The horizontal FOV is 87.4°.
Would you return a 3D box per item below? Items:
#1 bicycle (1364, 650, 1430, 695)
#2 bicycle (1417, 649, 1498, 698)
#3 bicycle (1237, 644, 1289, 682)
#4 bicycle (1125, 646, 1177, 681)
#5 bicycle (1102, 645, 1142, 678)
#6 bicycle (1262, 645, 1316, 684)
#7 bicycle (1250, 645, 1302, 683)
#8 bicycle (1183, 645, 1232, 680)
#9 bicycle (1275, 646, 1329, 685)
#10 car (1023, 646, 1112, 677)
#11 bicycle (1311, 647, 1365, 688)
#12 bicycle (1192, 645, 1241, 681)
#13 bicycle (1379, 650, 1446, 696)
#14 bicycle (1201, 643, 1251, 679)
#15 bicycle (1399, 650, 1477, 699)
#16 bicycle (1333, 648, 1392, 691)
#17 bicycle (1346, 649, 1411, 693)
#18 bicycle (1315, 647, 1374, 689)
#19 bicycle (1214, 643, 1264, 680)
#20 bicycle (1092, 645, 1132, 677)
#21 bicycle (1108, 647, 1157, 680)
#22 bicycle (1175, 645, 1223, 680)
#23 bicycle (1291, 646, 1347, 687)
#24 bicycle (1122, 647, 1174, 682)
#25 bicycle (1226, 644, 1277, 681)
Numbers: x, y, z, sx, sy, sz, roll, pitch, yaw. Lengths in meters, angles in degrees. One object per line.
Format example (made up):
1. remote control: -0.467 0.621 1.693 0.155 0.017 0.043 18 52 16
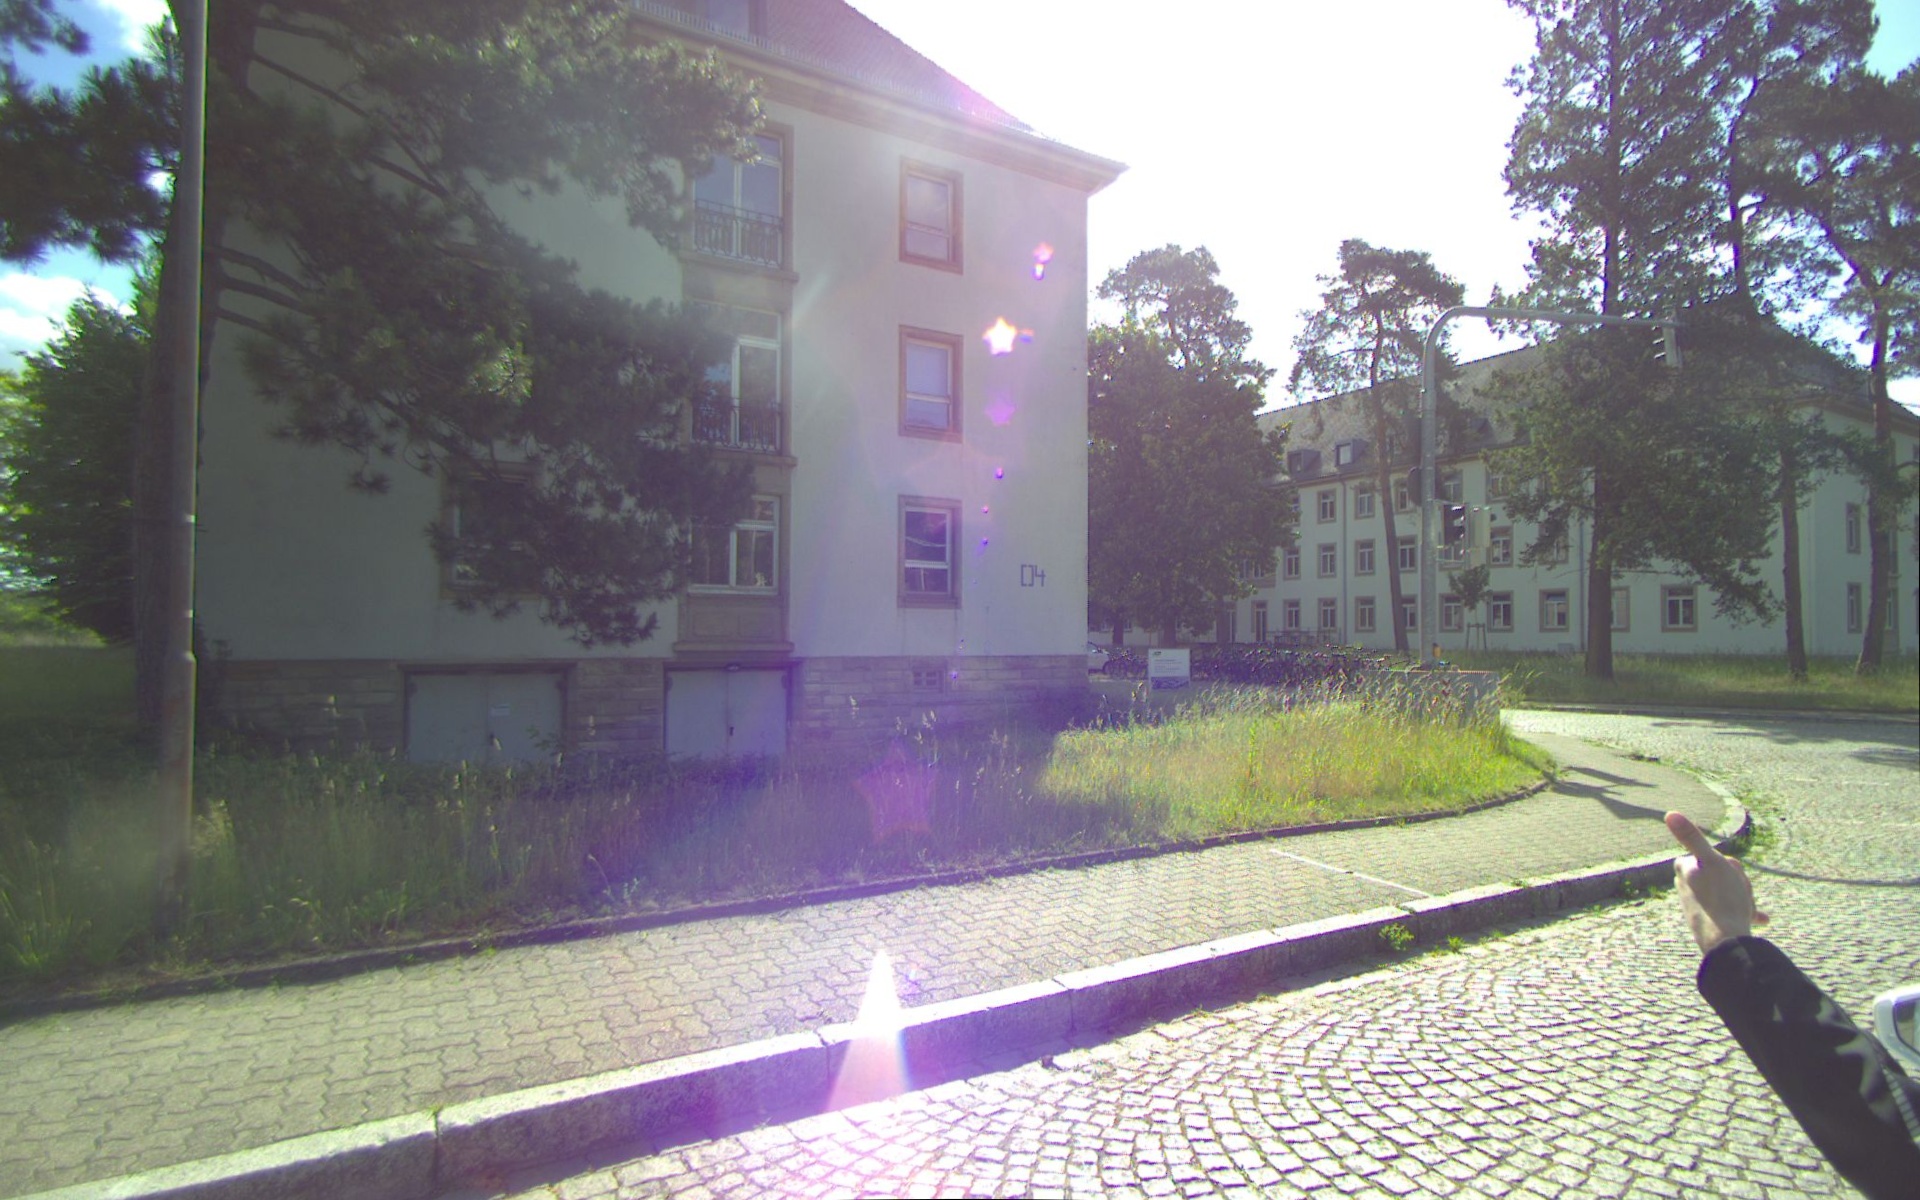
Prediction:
1. bicycle: 12.439 2.038 28.573 2.100 1.236 0.630 1 -2 -31
2. bicycle: 13.331 1.950 26.961 0.627 1.236 1.935 1 -2 -30
3. bicycle: 10.171 2.106 33.667 1.915 1.236 0.511 1 -2 -31
4. bicycle: 7.014 2.332 36.919 1.794 1.236 0.515 -1 -2 24
5. bicycle: 6.376 2.406 39.409 1.815 1.236 0.509 2 -3 -42
6. bicycle: 10.730 2.097 32.745 1.954 1.236 0.511 1 -2 -31
7. bicycle: 10.439 2.099 33.182 1.932 1.236 0.511 1 -2 -31
8. bicycle: 8.876 2.228 35.965 1.915 1.236 0.511 1 -2 -31
9. bicycle: 10.994 2.096 32.300 1.954 1.236 0.511 1 -2 -31
10. car: 4.553 2.579 42.542 3.550 1.227 1.504 1 -3 -29
11. bicycle: 11.846 2.090 31.463 1.878 1.236 0.545 1 -2 -31
12. bicycle: 9.091 2.223 35.594 1.915 1.236 0.511 1 -2 -31
13. bicycle: 12.689 2.032 28.160 2.090 1.236 0.630 1 -2 -31
14. bicycle: 9.321 2.126 35.194 1.915 1.236 0.511 1 -2 -31
15. bicycle: 12.677 1.956 26.682 0.627 1.236 1.853 1 -2 -30
16. bicycle: 12.041 2.063 30.037 1.967 1.236 0.569 1 -2 -31
17. bicycle: 12.143 2.045 29.099 2.080 1.236 0.630 1 -2 -31
18. bicycle: 11.776 2.076 30.750 2.006 1.236 0.576 1 -2 -31
19. bicycle: 9.636 2.119 34.673 1.915 1.236 0.511 1 -2 -31
20. bicycle: 6.059 2.412 39.924 1.813 1.236 0.510 2 -3 -39
21. bicycle: 6.505 2.386 37.909 1.792 1.236 0.516 0 -2 6
22. bicycle: 8.658 2.233 36.356 1.915 1.236 0.511 1 -2 -31
23. bicycle: 11.357 2.090 31.764 1.993 1.236 0.511 1 -2 -31
24. bicycle: 6.785 2.323 36.312 1.794 1.236 0.515 -1 -2 24
25. bicycle: 9.917 2.112 34.151 1.915 1.236 0.511 1 -2 -31
